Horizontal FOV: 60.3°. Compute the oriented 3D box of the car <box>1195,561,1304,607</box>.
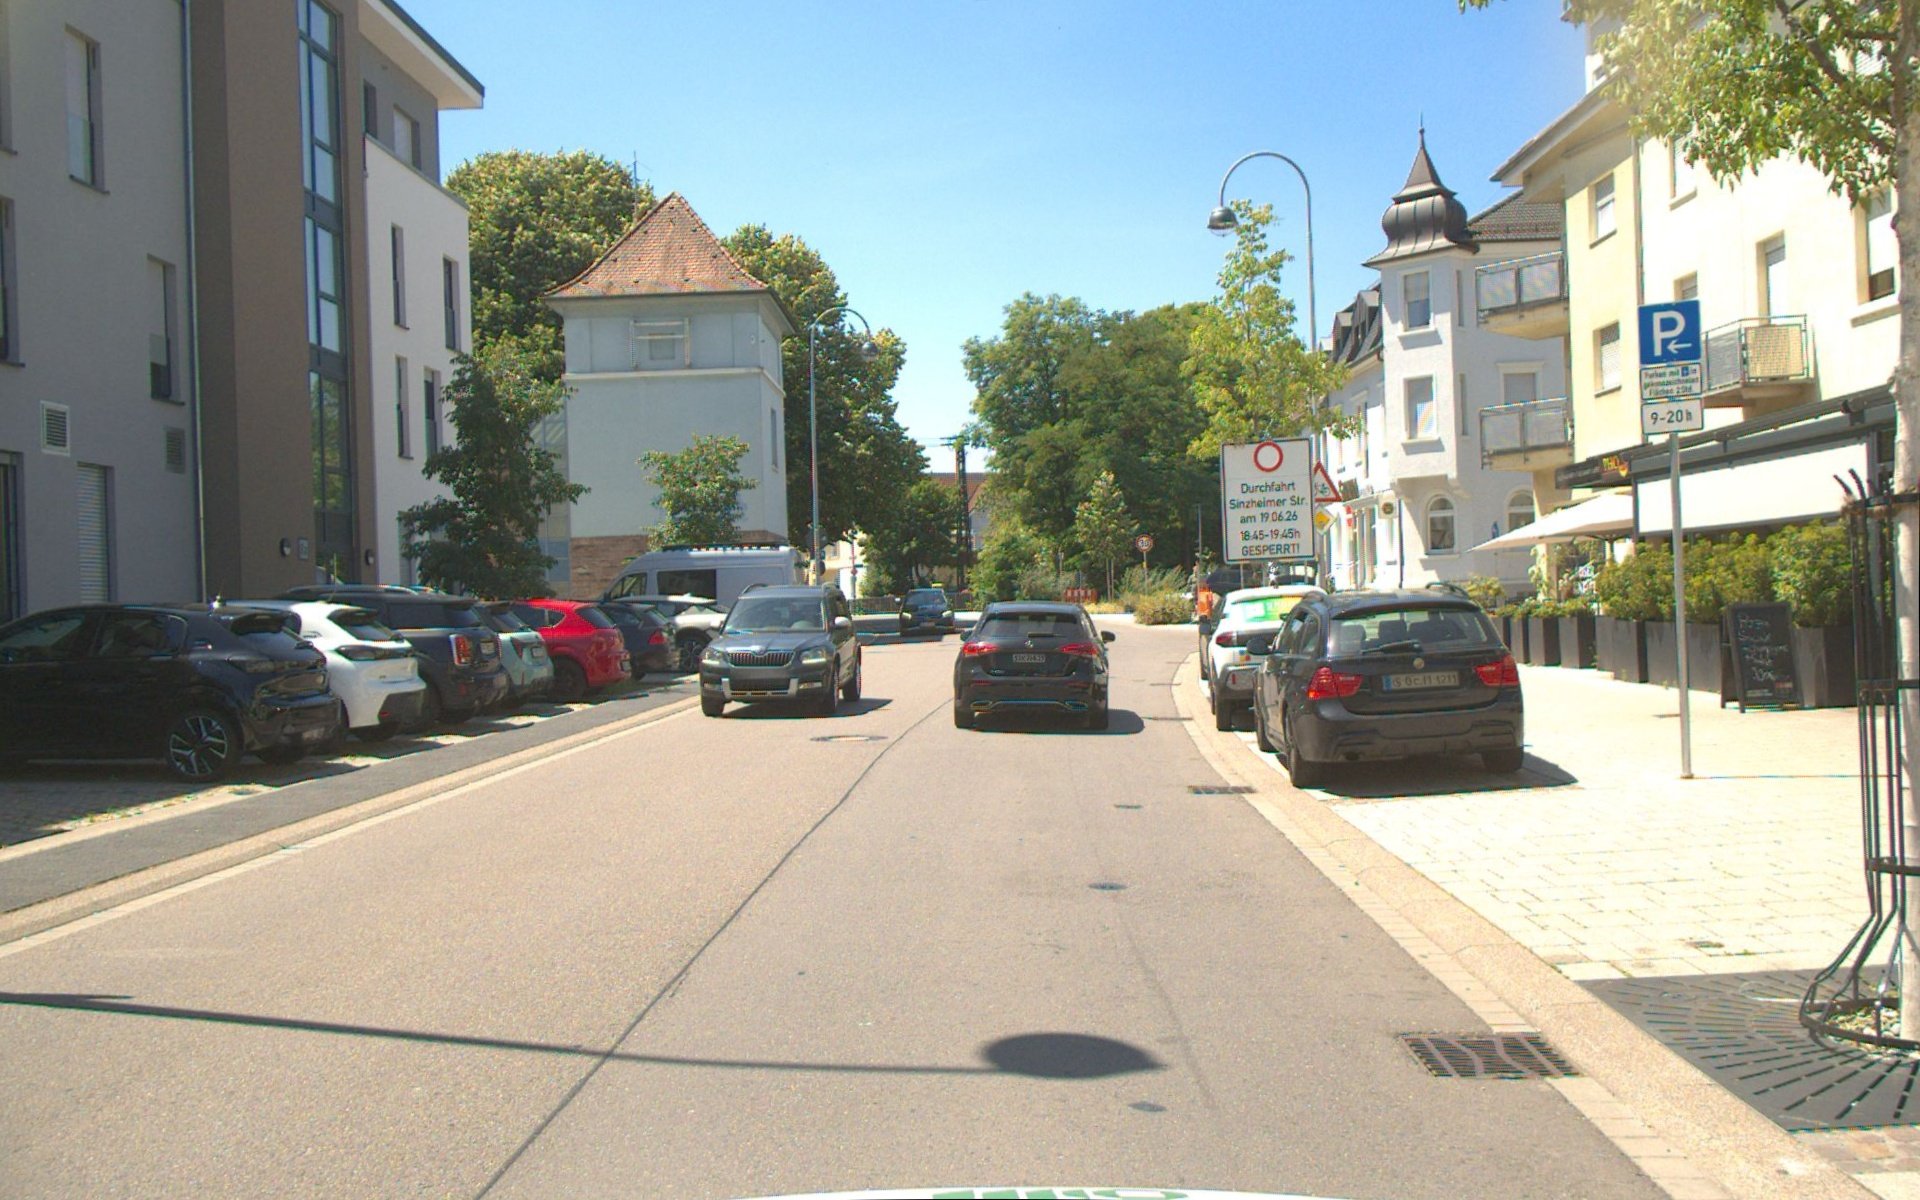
[{"bbox_3d":[11.406,-0.622,65.350,3.991,1.746,1.856,0,0,0],"label":"car"}]

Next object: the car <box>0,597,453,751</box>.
[{"bbox_3d":[-7.356,0.706,16.598,3.904,1.446,1.910,0,0,2],"label":"car"}]

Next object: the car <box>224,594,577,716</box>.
[{"bbox_3d":[-7.329,0.703,21.935,3.947,1.523,2.001,0,0,4],"label":"car"}]

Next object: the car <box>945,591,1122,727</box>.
[{"bbox_3d":[0.987,0.692,20.000,1.789,1.467,4.003,-1,-2,7],"label":"car"}]

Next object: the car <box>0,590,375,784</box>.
[{"bbox_3d":[-7.407,0.701,14.359,3.904,1.542,2.001,0,1,3],"label":"car"}]

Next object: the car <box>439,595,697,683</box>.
[{"bbox_3d":[-6.811,0.667,29.079,4.115,1.463,1.885,0,0,-2],"label":"car"}]

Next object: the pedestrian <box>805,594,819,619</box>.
[{"bbox_3d":[-9.729,0.436,108.977,0.607,1.641,0.830,-2,-1,-28],"label":"pedestrian"}]

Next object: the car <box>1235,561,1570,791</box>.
[{"bbox_3d":[3.463,0.568,13.729,1.794,1.508,4.097,-4,-1,3],"label":"car"}]

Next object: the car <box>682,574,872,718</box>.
[{"bbox_3d":[-2.382,0.582,22.554,1.772,1.731,4.078,-2,0,5],"label":"car"}]

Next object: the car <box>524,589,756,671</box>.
[{"bbox_3d":[-6.569,0.605,34.283,4.361,1.619,2.000,0,0,2],"label":"car"}]

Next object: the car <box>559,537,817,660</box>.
[{"bbox_3d":[-6.369,-0.024,39.140,5.647,2.780,2.292,0,0,3],"label":"car"}]

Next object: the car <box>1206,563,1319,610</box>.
[{"bbox_3d":[11.579,-0.502,63.457,3.991,1.746,1.856,0,0,0],"label":"car"}]

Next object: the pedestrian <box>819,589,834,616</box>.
[{"bbox_3d":[-8.750,0.165,108.494,0.657,1.772,0.691,-1,-1,-41],"label":"pedestrian"}]

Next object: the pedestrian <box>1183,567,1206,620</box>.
[{"bbox_3d":[8.209,-0.227,57.994,0.730,1.827,0.844,-2,2,9],"label":"pedestrian"}]

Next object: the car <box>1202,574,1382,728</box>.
[{"bbox_3d":[3.786,0.542,19.455,1.701,1.511,4.057,-4,-1,7],"label":"car"}]

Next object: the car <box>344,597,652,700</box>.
[{"bbox_3d":[-6.795,0.697,24.612,3.947,1.455,2.001,0,0,4],"label":"car"}]

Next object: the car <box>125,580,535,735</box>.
[{"bbox_3d":[-7.175,0.637,19.115,3.947,1.680,2.001,0,0,4],"label":"car"}]

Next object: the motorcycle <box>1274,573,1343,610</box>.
[{"bbox_3d":[12.603,-0.314,59.865,2.327,1.297,0.856,-1,0,1],"label":"motorcycle"}]

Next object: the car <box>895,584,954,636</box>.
[{"bbox_3d":[-1.145,0.289,55.464,1.855,1.580,4.799,-1,1,0],"label":"car"}]
